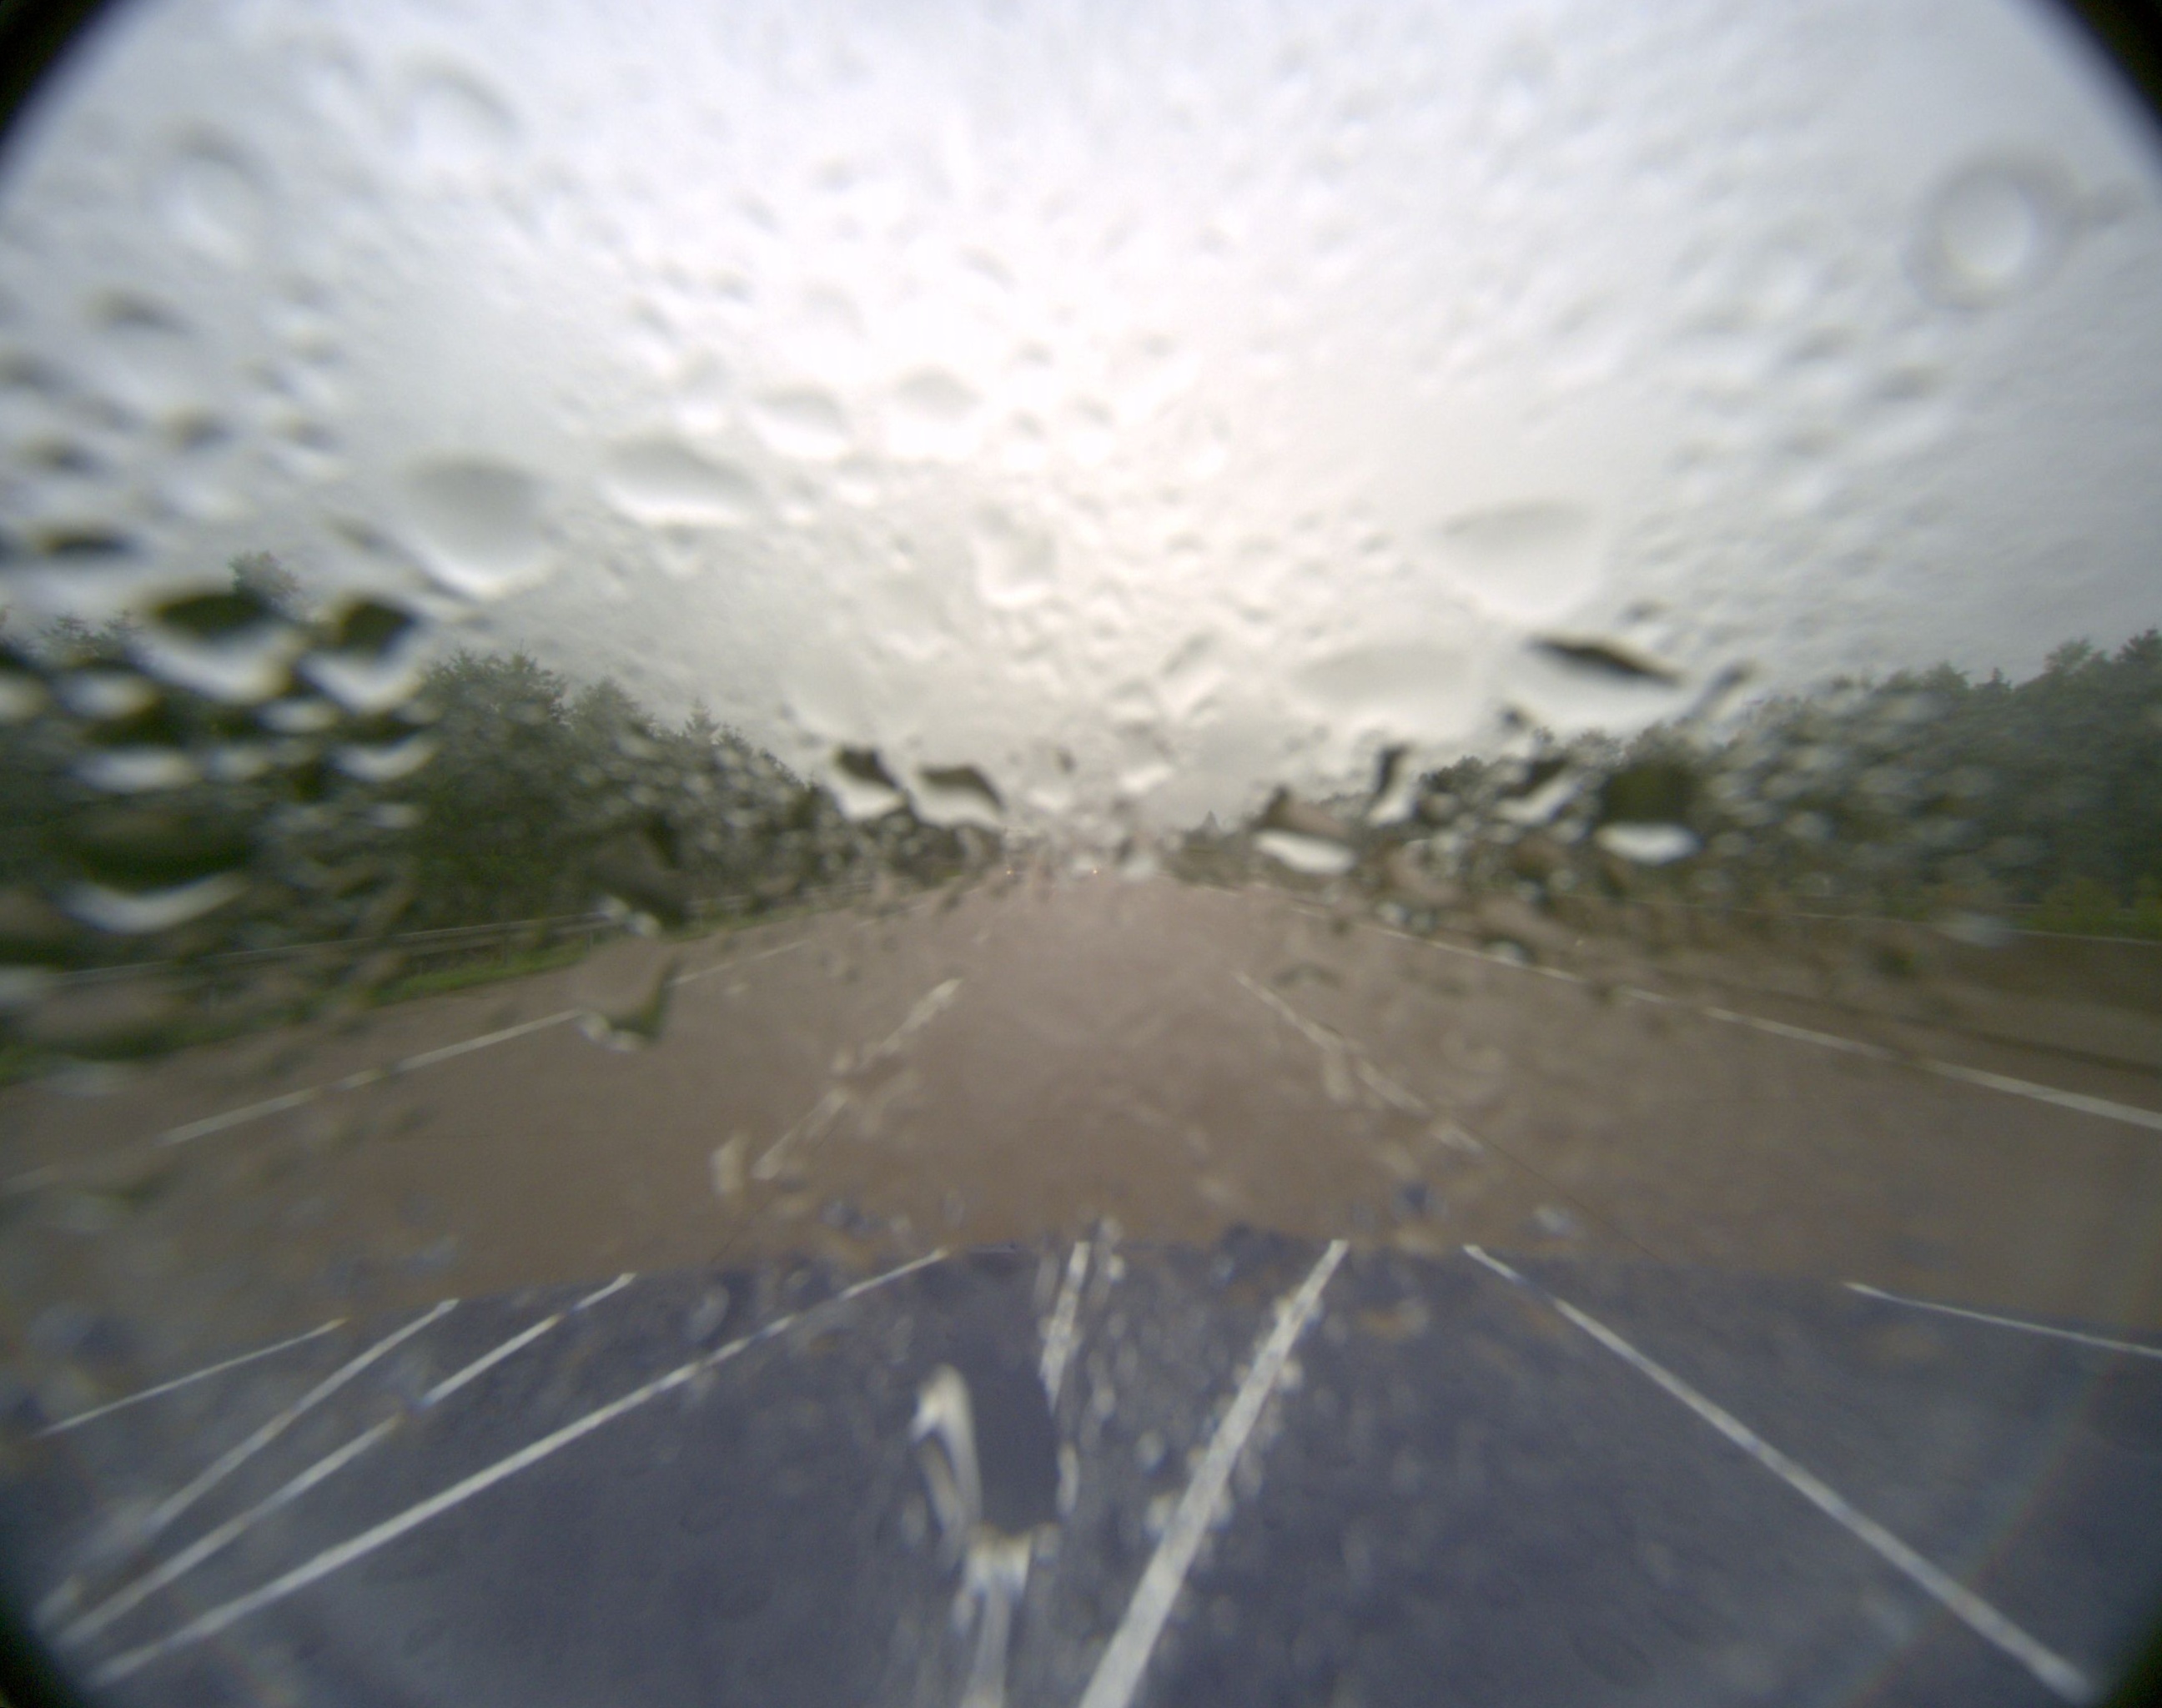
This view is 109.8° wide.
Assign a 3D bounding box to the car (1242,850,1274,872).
[{"bbox_3d":[16.873,0.622,72.429,1.999,2.002,3.999,-2,0,-1],"label":"car"}]

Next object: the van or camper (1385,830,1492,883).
[{"bbox_3d":[16.418,0.084,35.349,2.135,2.192,5.721,-2,0,-1],"label":"van or camper"}]

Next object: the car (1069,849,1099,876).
[{"bbox_3d":[0.275,0.598,51.959,1.812,1.718,4.745,2,0,3],"label":"car"}]

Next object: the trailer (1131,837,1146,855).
[{"bbox_3d":[17.248,-2.344,228.848,4.000,5.030,14.237,-2,0,2],"label":"trailer"}]

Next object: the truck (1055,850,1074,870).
[{"bbox_3d":[-3.057,1.156,143.330,3.242,3.707,7.956,-2,-1,1],"label":"truck"}]

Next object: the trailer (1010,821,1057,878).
[{"bbox_3d":[-3.703,-0.187,62.509,2.859,4.206,13.134,0,-1,1],"label":"trailer"}]

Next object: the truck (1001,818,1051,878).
[{"bbox_3d":[-3.831,-0.355,54.461,2.887,4.082,6.351,0,-1,2],"label":"truck"}]
